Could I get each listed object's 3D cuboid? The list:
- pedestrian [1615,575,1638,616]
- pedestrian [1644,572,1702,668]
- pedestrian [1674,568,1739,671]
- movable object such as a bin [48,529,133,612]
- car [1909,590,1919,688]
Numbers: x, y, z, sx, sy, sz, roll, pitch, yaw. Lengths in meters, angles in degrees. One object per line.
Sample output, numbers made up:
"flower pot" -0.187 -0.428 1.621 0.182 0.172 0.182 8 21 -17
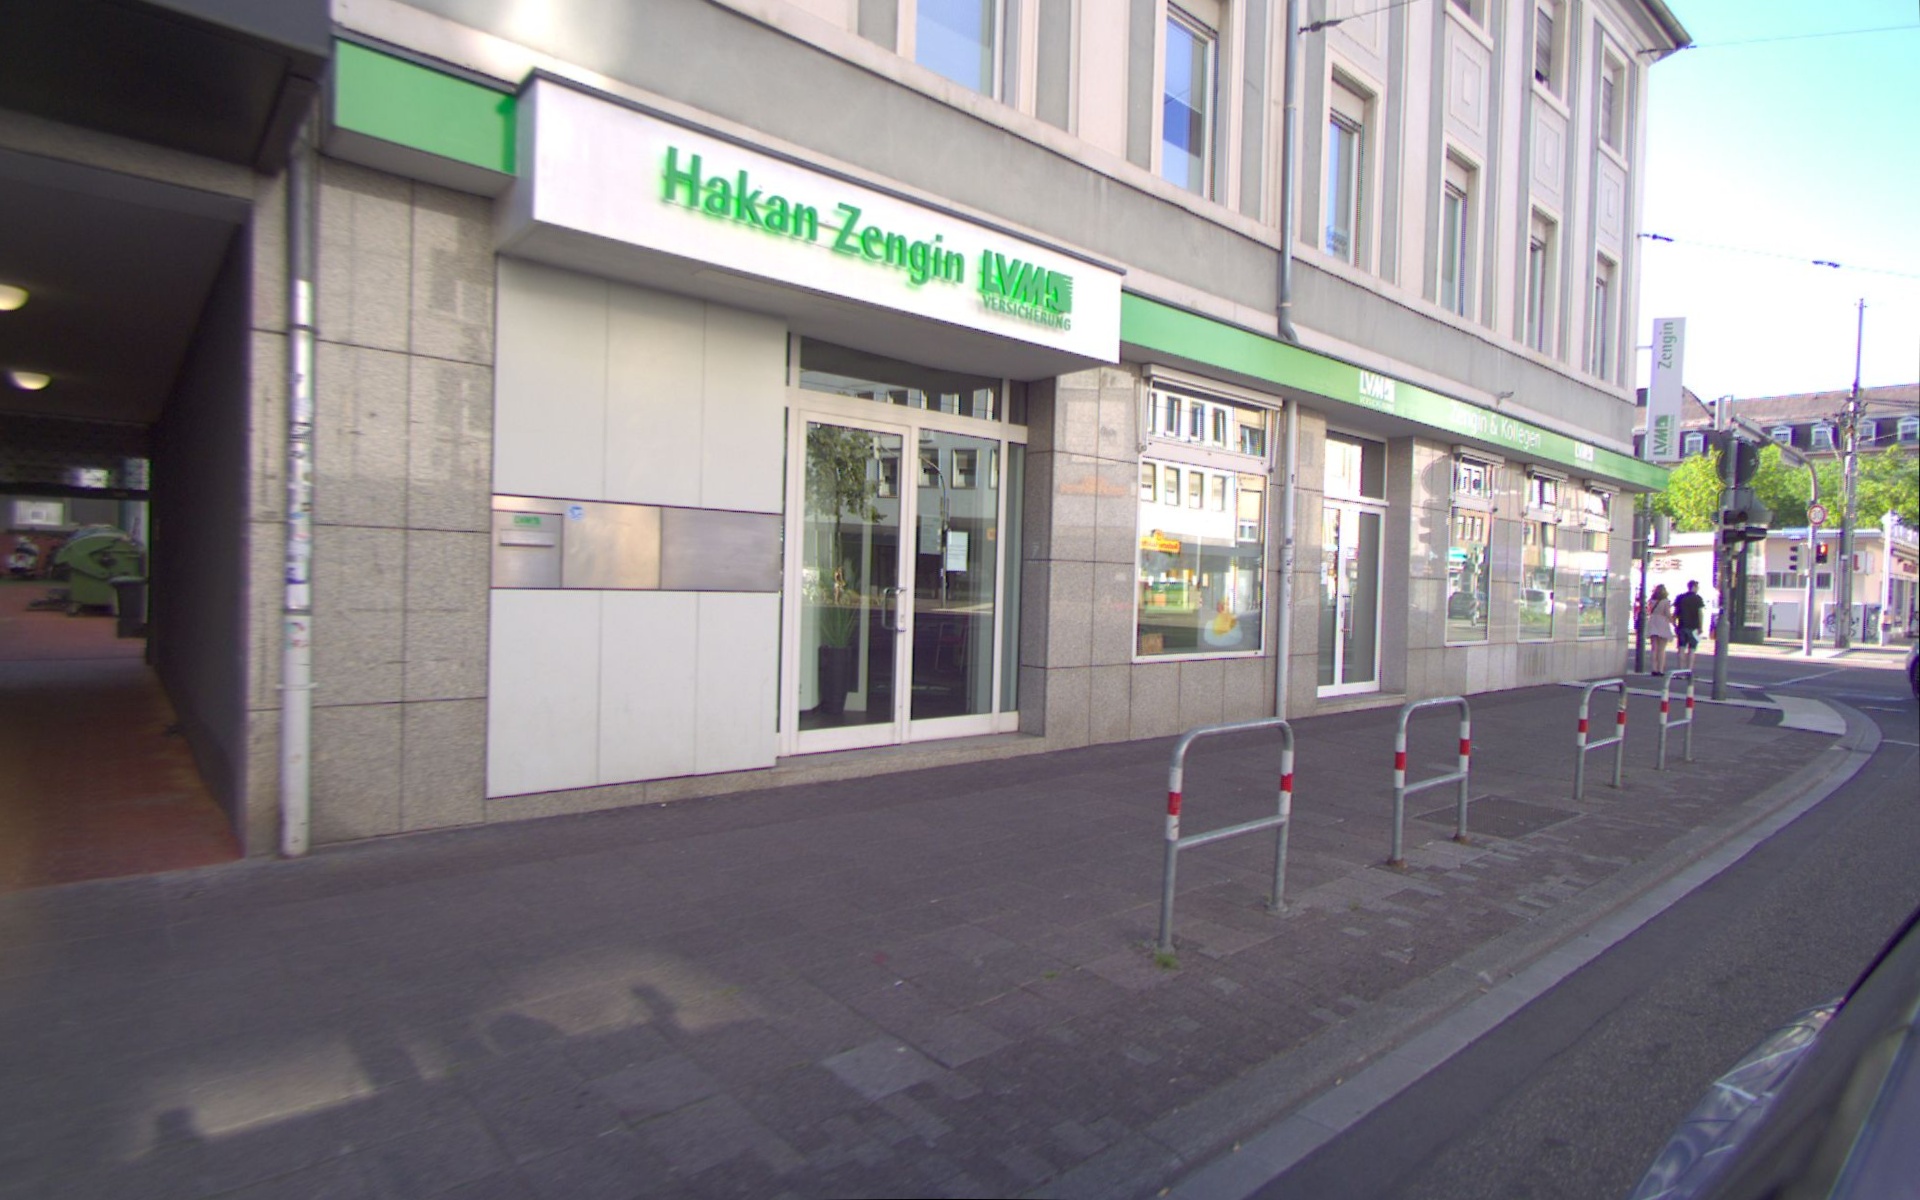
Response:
"pedestrian" 29.202 -0.204 44.363 0.510 1.730 0.613 2 1 -17
"pedestrian" 13.502 0.372 19.172 0.562 1.781 0.651 0 1 -17
"pedestrian" 13.831 0.348 18.757 0.628 1.865 0.683 1 1 -17
"movable object such as a bin" -15.375 -0.531 17.889 1.073 1.402 1.001 0 3 -45
"car" 14.870 0.670 13.323 1.888 1.480 4.336 0 2 20
